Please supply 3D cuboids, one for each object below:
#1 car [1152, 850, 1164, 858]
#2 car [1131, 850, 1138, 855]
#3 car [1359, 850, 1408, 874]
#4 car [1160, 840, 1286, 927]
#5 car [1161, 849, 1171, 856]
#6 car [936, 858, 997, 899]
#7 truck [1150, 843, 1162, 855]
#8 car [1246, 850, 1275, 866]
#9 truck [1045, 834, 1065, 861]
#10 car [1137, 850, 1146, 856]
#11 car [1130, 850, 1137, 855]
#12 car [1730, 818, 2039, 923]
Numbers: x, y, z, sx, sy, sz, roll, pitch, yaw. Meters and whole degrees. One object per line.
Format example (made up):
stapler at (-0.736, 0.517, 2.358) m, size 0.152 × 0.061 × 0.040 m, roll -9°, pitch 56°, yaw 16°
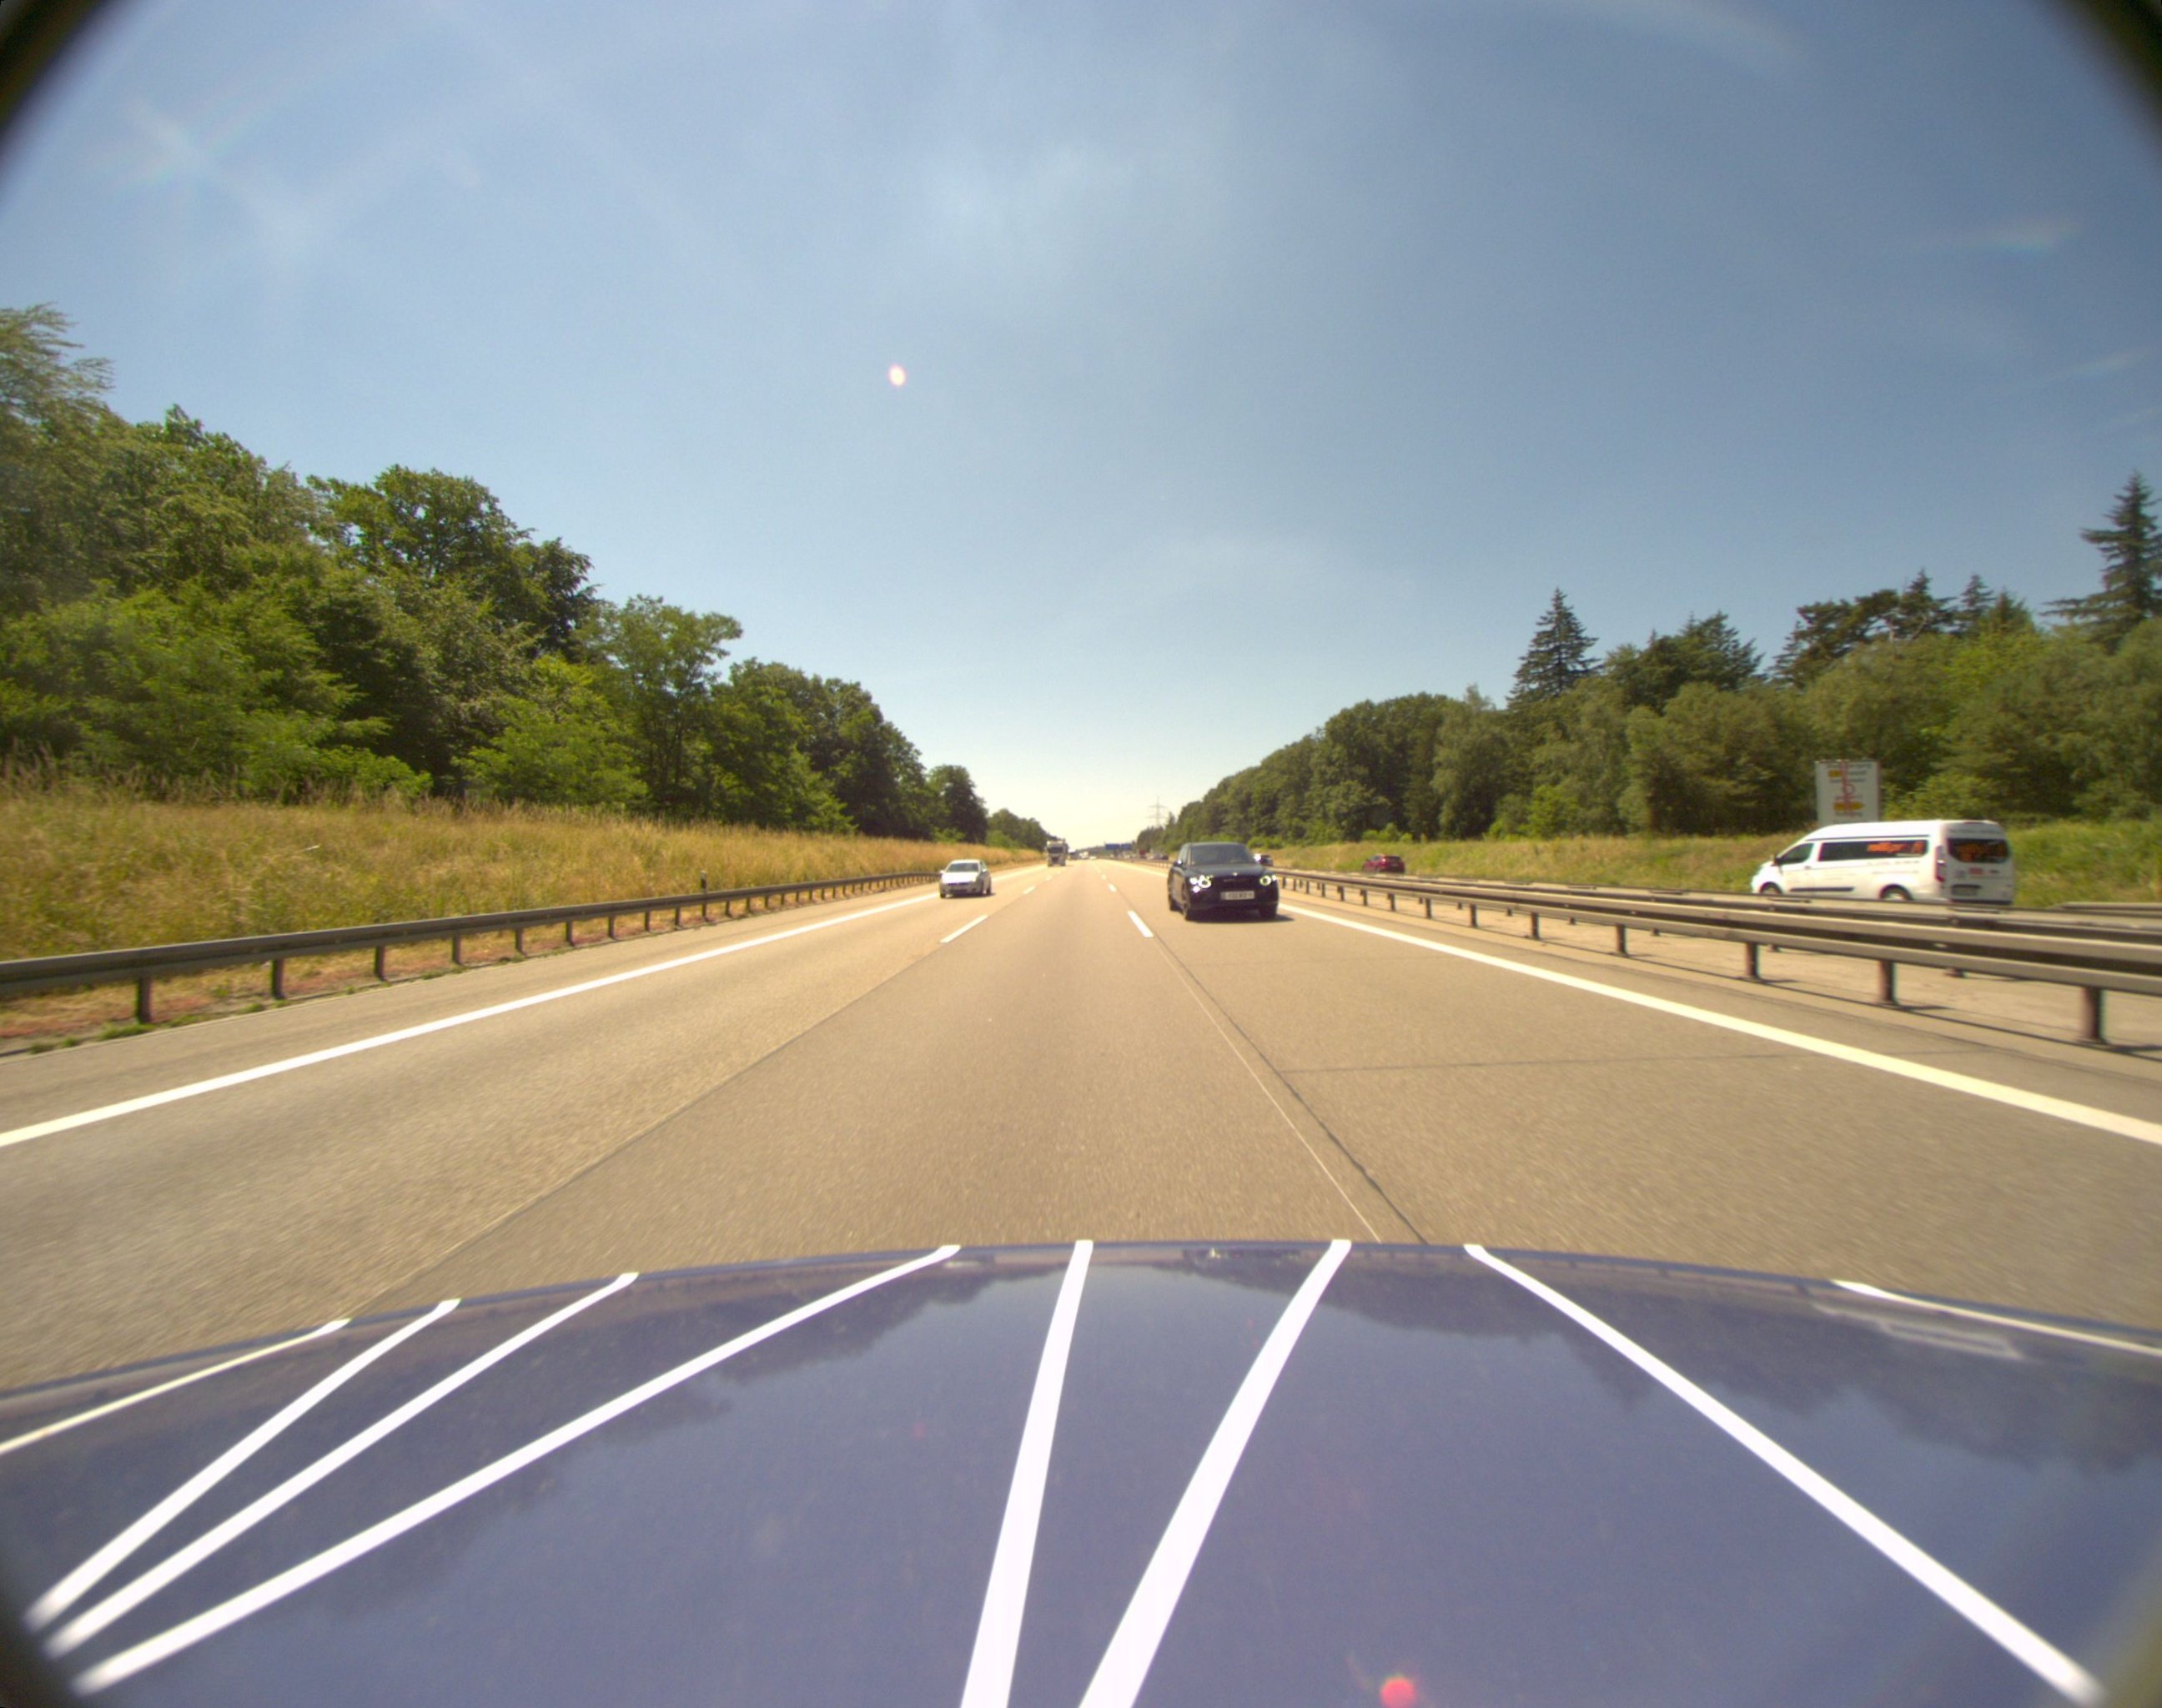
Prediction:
car at (14.567, -0.014, 143.834) m, size 1.799 × 1.466 × 4.986 m, roll 2°, pitch 0°, yaw 0°
car at (18.831, -0.406, 267.509) m, size 1.731 × 1.636 × 5.088 m, roll 2°, pitch 0°, yaw 0°
car at (21.552, 0.554, 54.262) m, size 1.650 × 1.581 × 4.611 m, roll 1°, pitch 0°, yaw 0°
car at (3.236, 0.622, 18.628) m, size 1.945 × 1.742 × 5.813 m, roll -2°, pitch 0°, yaw 0°
car at (18.952, -0.299, 169.607) m, size 1.799 × 1.609 × 4.985 m, roll 2°, pitch 0°, yaw 0°
car at (-4.581, 0.953, 30.880) m, size 1.749 × 1.457 × 3.980 m, roll -2°, pitch 0°, yaw 1°
truck at (23.181, -1.583, 236.078) m, size 2.739 × 3.498 × 10.440 m, roll 2°, pitch 0°, yaw 0°
car at (17.361, 0.347, 73.516) m, size 1.651 × 1.490 × 4.560 m, roll 2°, pitch 0°, yaw 0°
truck at (-3.819, -0.990, 114.746) m, size 2.605 × 3.811 × 5.969 m, roll -2°, pitch 0°, yaw 1°
car at (14.464, -0.190, 180.515) m, size 1.703 × 1.421 × 4.573 m, roll 2°, pitch 0°, yaw 0°
car at (15.984, -0.517, 232.350) m, size 1.766 × 1.451 × 5.120 m, roll 2°, pitch 0°, yaw 0°
car at (20.796, 0.362, 20.228) m, size 1.992 × 2.327 × 5.809 m, roll 2°, pitch 0°, yaw 0°
